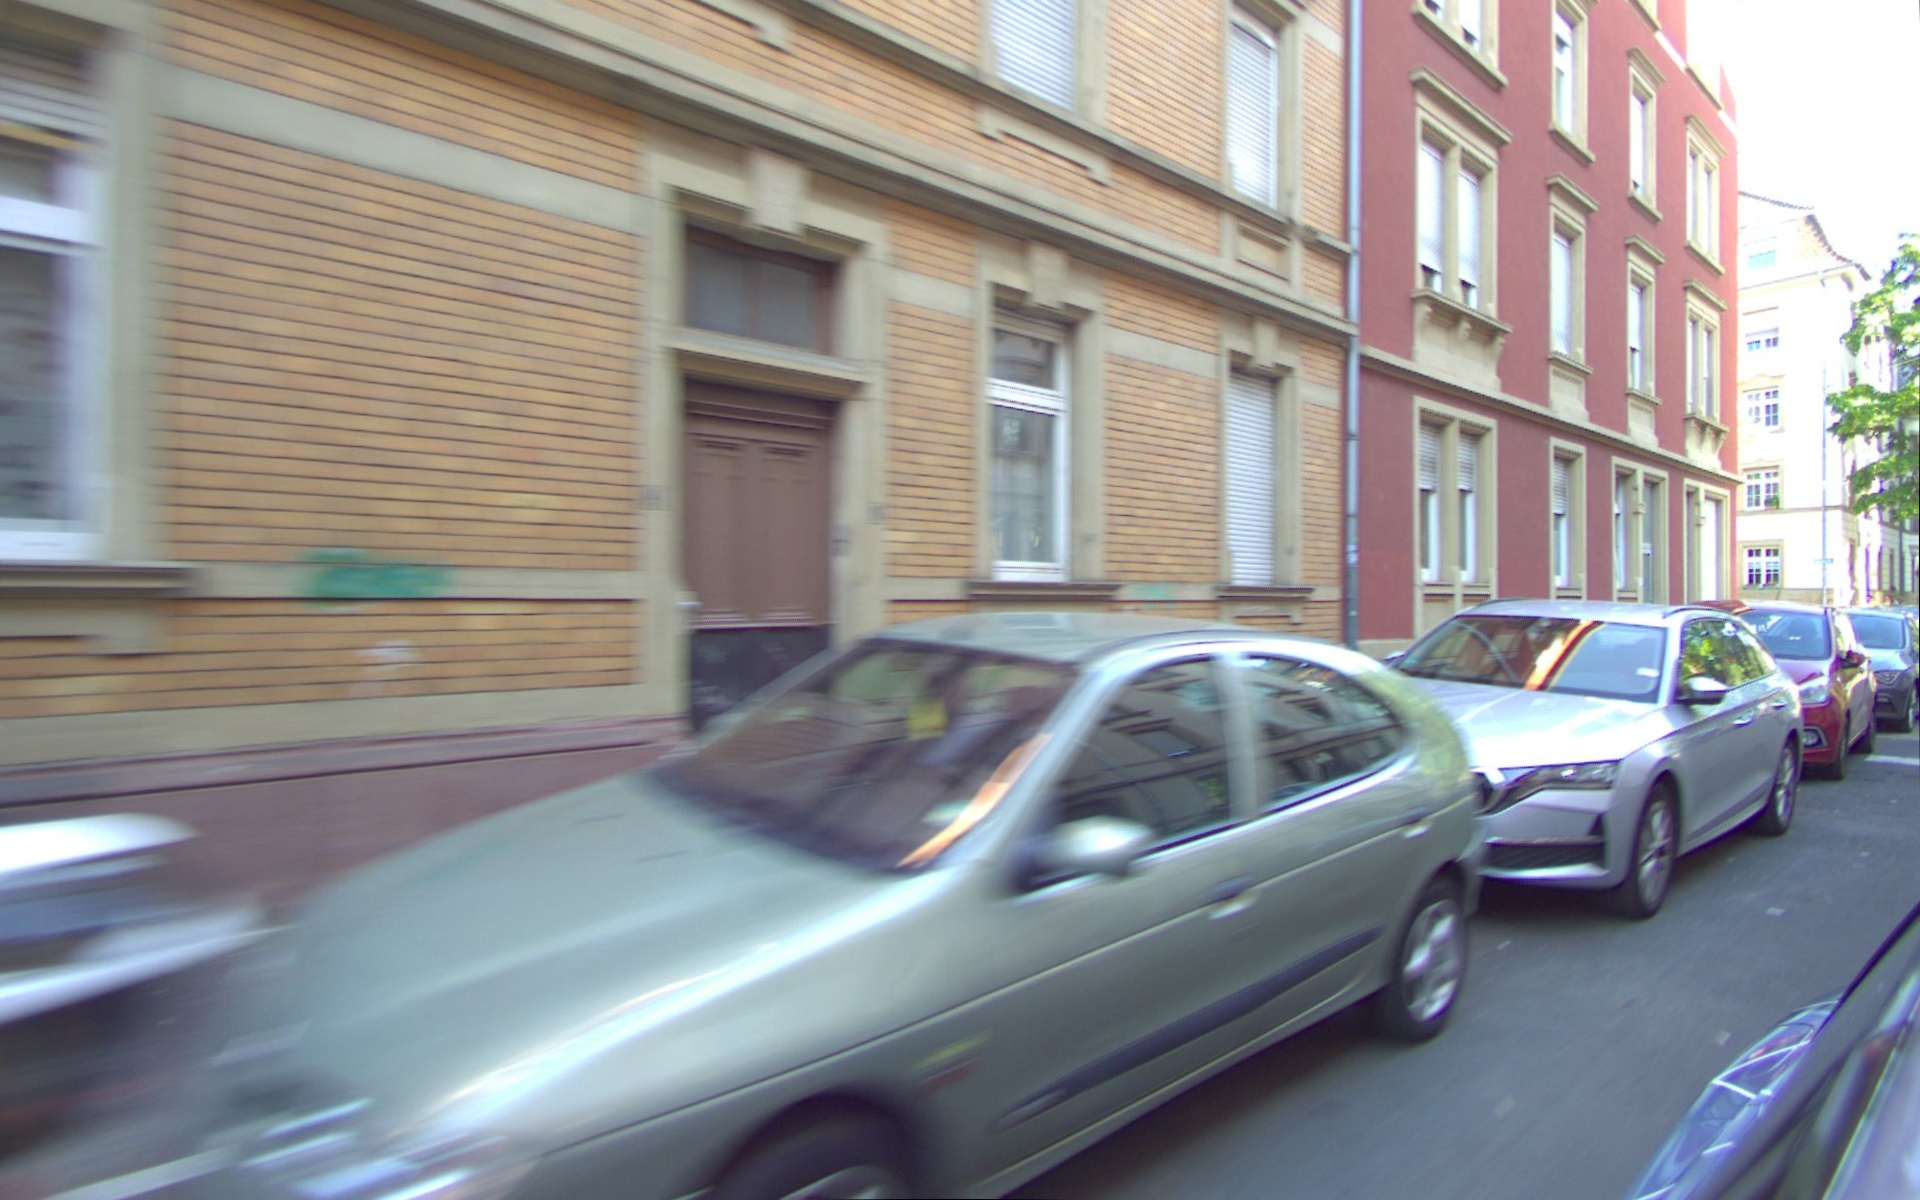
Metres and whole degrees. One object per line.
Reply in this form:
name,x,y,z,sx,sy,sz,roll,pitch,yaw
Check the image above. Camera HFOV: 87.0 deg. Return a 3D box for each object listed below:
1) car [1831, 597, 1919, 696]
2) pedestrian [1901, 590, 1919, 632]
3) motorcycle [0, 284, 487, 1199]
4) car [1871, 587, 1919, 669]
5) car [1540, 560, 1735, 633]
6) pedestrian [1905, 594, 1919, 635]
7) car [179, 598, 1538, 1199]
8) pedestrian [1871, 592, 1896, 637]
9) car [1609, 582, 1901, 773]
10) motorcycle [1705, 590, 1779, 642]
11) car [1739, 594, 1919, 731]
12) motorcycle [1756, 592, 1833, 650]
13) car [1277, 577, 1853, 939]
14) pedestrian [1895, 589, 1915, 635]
car,15.849,0.701,16.689,3.900,1.481,1.708,0,0,-41
pedestrian,42.425,0.479,45.167,0.694,1.868,0.529,0,0,-39
motorcycle,-1.738,0.561,1.257,2.202,1.556,0.883,-2,-2,24
car,19.114,0.514,19.709,3.642,1.502,1.671,0,0,-42
car,25.207,-0.163,37.906,2.260,2.499,5.670,0,1,-31
pedestrian,43.226,0.655,45.767,0.704,1.868,0.827,0,0,44
car,0.096,0.714,3.126,3.921,1.424,1.695,0,0,-40
pedestrian,35.540,0.539,38.938,0.804,1.706,0.624,0,0,-41
car,7.894,0.596,9.911,3.956,1.498,1.661,0,0,-43
motorcycle,22.461,0.434,29.065,2.493,1.422,0.872,0,1,-32
car,11.683,0.689,13.144,3.996,1.522,1.680,0,0,-40
motorcycle,23.154,0.574,28.060,2.571,1.544,0.875,1,0,-32
car,3.961,0.646,6.282,4.323,1.502,1.765,0,0,-40
pedestrian,35.797,0.439,38.334,0.508,1.740,0.519,0,0,-42
